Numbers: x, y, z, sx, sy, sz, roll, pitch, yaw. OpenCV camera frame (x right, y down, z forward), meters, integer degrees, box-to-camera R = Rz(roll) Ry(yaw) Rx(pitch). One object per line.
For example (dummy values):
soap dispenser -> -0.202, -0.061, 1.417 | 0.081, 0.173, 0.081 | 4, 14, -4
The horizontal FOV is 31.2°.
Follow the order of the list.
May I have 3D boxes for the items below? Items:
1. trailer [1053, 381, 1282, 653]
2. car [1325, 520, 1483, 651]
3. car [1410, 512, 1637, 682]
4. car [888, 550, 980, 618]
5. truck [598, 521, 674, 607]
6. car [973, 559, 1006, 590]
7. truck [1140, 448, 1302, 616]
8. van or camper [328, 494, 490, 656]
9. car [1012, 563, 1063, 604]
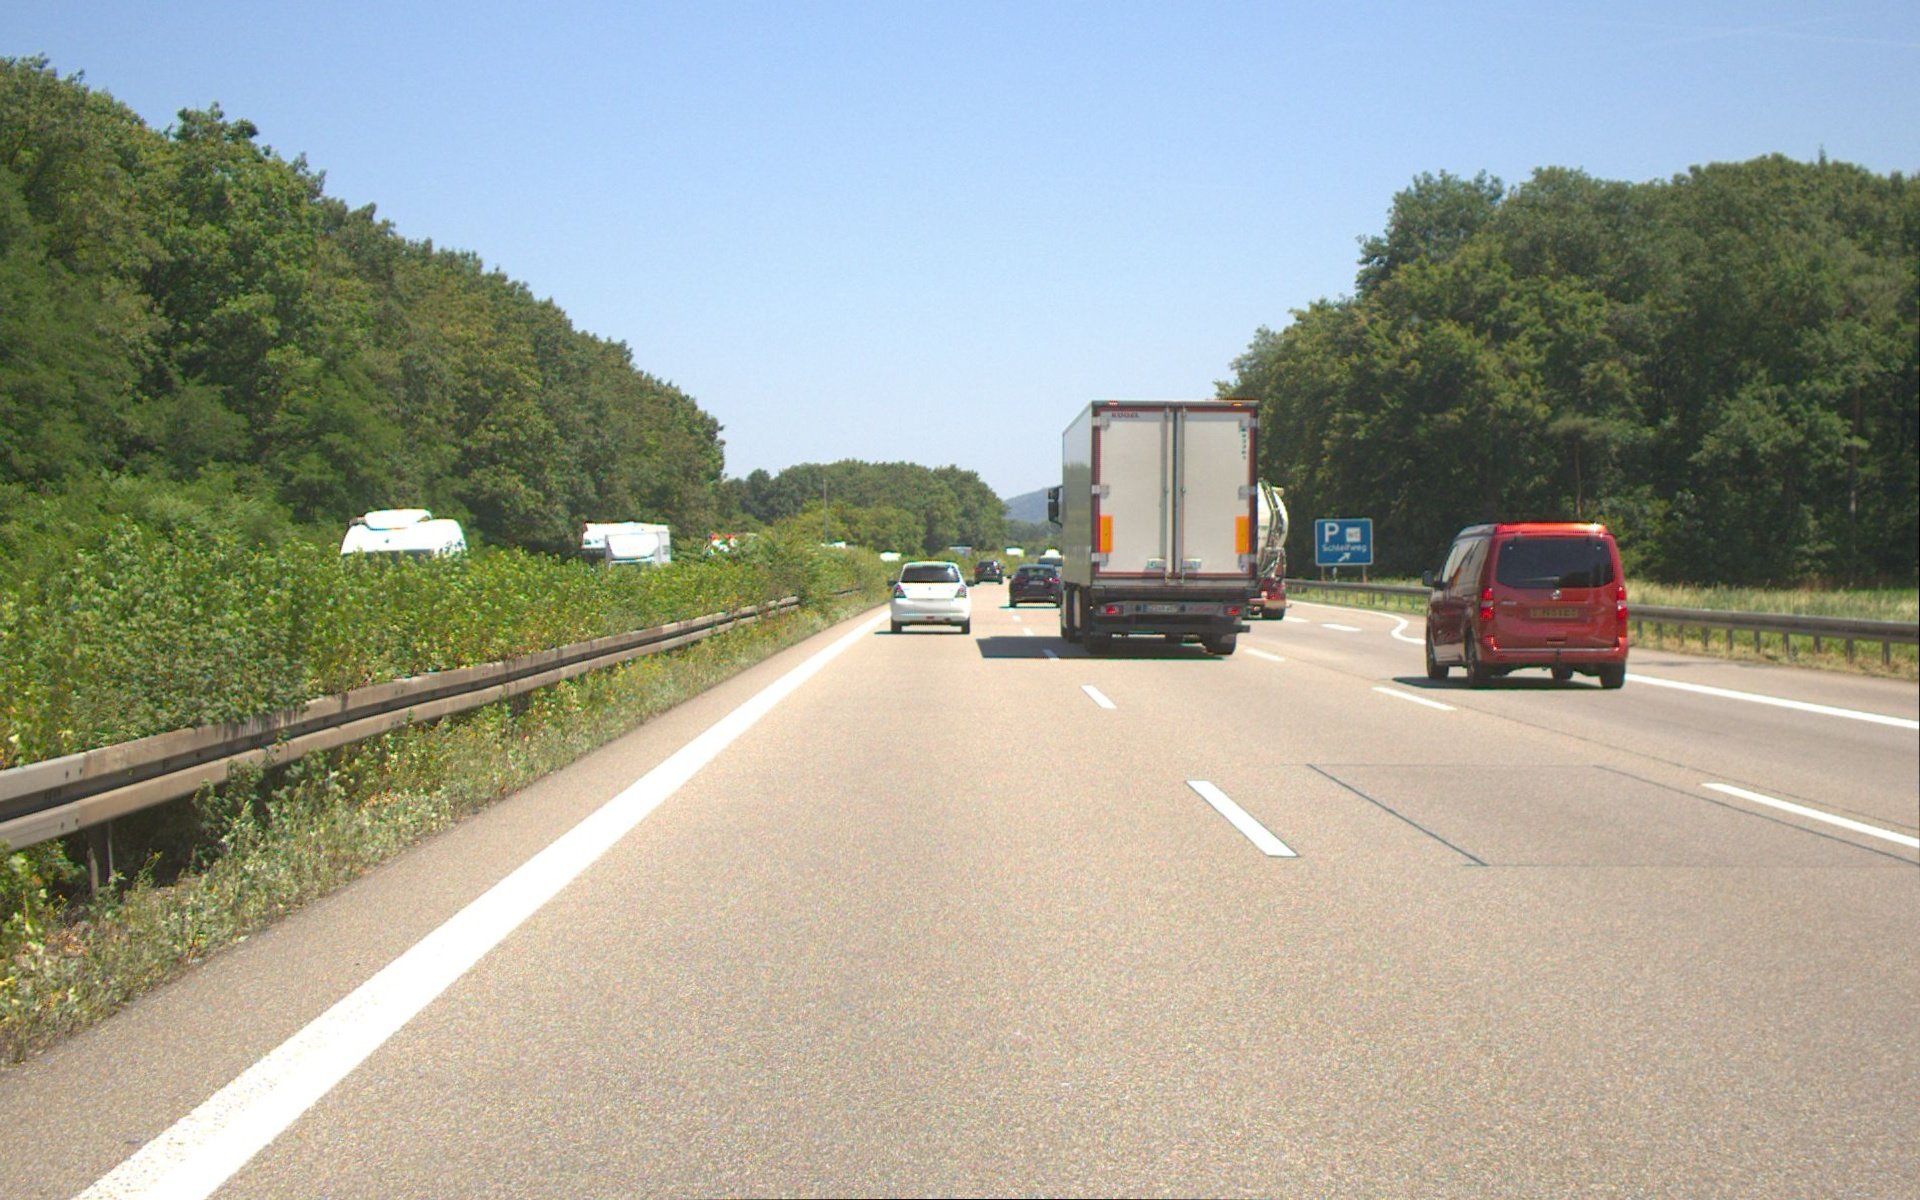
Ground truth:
trailer -> 3.338, -1.374, 58.774 | 3.223, 4.129, 12.352 | -1, 1, 0
car -> 7.056, -0.250, 55.003 | 1.993, 2.007, 4.000 | 0, 1, 0
car -> 7.036, -0.069, 43.487 | 1.855, 1.996, 5.522 | 1, 1, -1
car -> -0.570, -0.359, 72.881 | 1.811, 1.400, 3.318 | -1, 1, -3
truck -> -13.228, -1.493, 140.731 | 2.410, 3.342, 7.001 | -3, 1, -1
car -> 2.003, -1.707, 231.107 | 2.107, 2.007, 4.000 | 1, 1, -1
truck -> 7.064, -1.858, 94.600 | 3.223, 4.330, 10.808 | -1, 1, -2
van or camper -> -10.214, -0.497, 64.295 | 1.993, 2.836, 7.001 | -1, 1, -1
car -> 2.564, -0.560, 114.465 | 1.668, 1.285, 4.000 | -1, 1, 1
